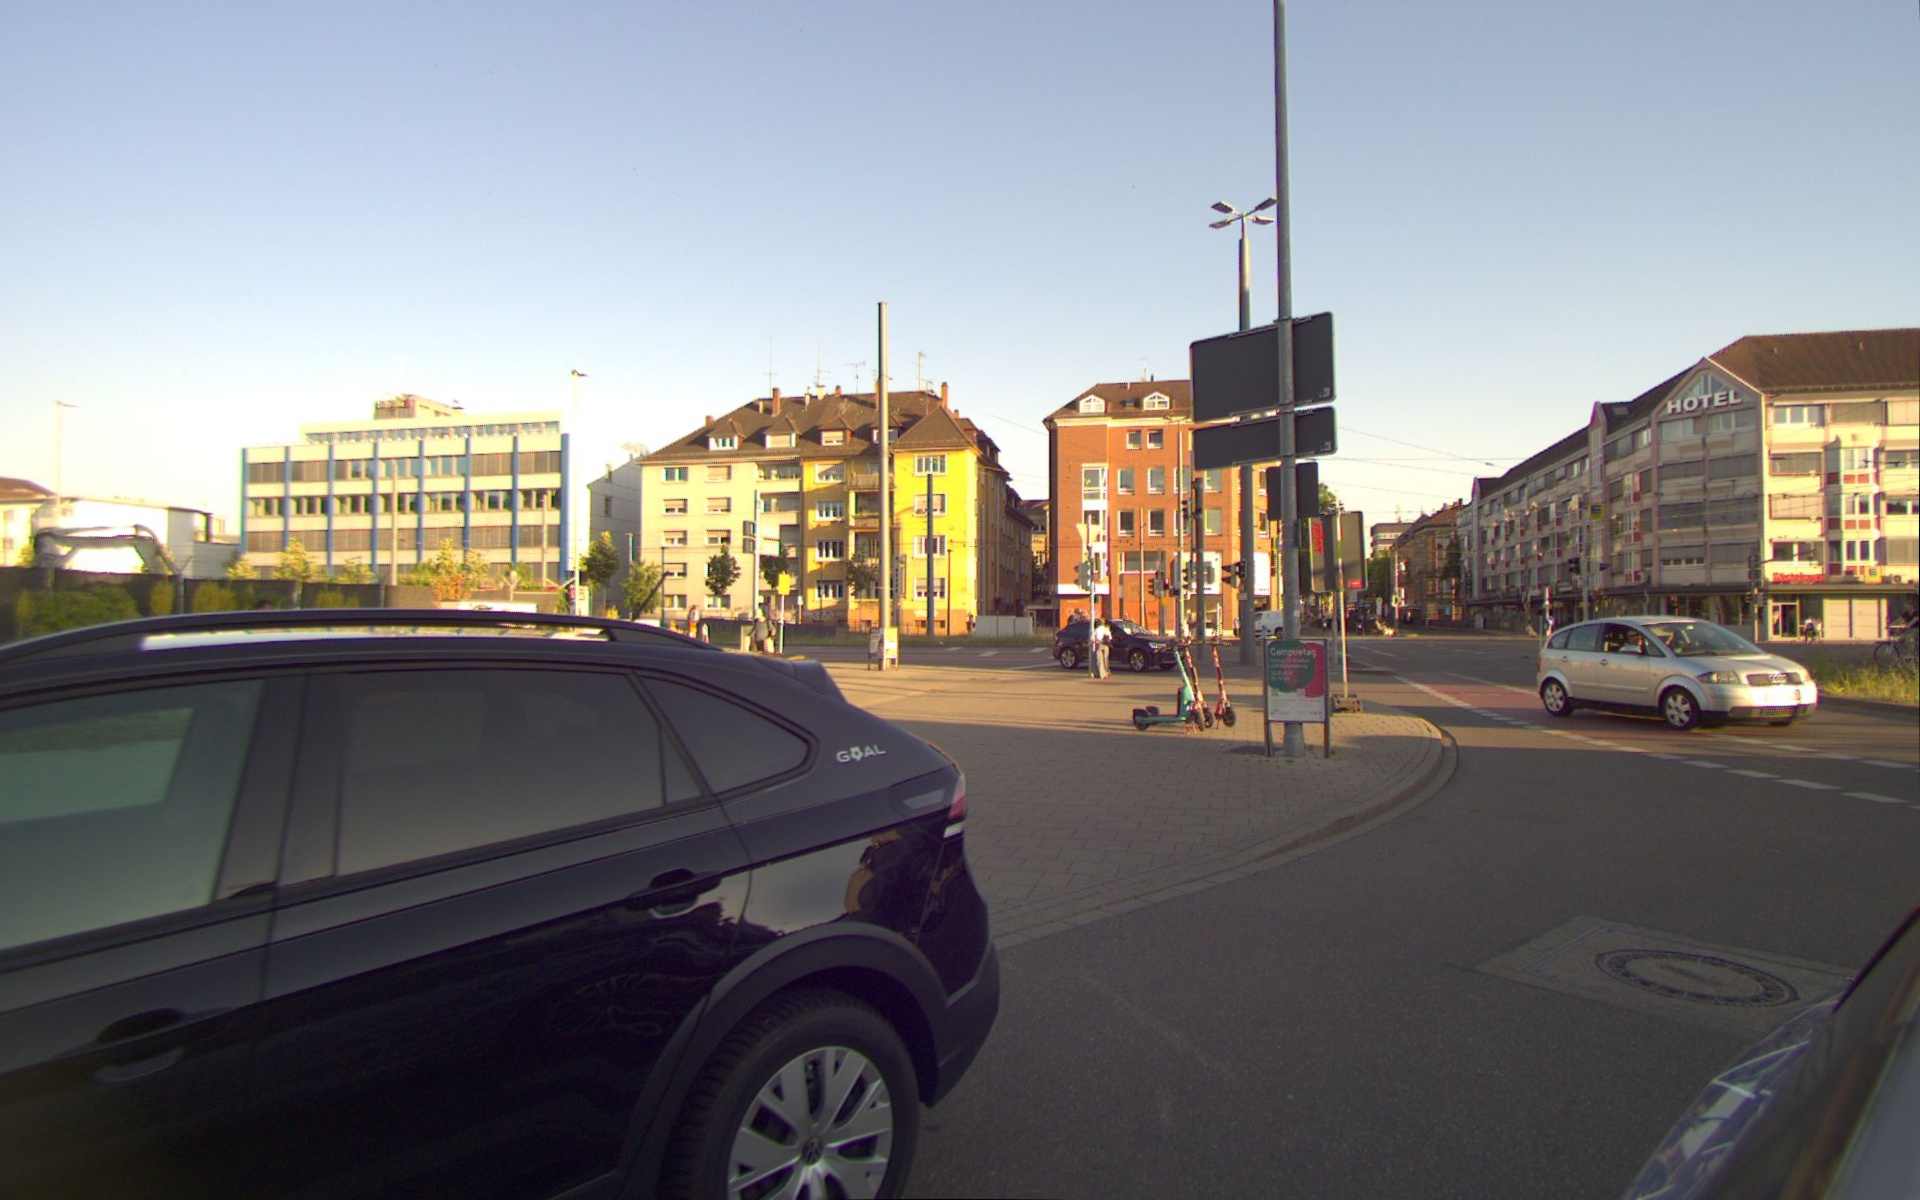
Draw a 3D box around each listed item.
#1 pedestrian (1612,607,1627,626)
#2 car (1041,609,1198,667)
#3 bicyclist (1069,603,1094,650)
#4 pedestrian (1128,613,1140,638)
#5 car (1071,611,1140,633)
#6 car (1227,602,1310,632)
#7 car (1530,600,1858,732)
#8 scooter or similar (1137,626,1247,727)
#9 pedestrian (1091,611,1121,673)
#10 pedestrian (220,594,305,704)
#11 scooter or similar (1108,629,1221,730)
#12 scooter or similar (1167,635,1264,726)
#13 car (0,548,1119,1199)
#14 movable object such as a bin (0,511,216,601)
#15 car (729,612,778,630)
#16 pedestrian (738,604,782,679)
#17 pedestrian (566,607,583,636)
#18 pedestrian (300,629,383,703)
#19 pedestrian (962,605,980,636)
[{"bbox_3d":[55.094,1.412,84.561,0.697,1.568,0.903,-1,-1,12],"label":"pedestrian"},{"bbox_3d":[4.772,1.080,30.627,4.372,1.638,1.915,0,-1,41],"label":"car"},{"bbox_3d":[4.404,0.964,36.767,0.739,1.692,0.592,-2,0,22],"label":"bicyclist"},{"bbox_3d":[12.849,1.864,74.702,0.858,1.801,0.915,-1,-1,8],"label":"pedestrian"},{"bbox_3d":[10.214,1.548,71.115,4.513,1.467,1.801,0,0,25],"label":"car"},{"bbox_3d":[19.892,1.127,65.381,1.965,1.862,4.869,1,-2,-39],"label":"car"},{"bbox_3d":[10.241,0.857,14.523,1.647,1.581,3.730,-2,-1,-6],"label":"car"},{"bbox_3d":[3.178,1.015,14.004,0.452,1.309,1.654,0,-1,-31],"label":"scooter or similar"},{"bbox_3d":[3.915,1.102,27.137,0.681,1.634,0.592,0,-1,21],"label":"pedestrian"},{"bbox_3d":[-11.008,0.757,15.979,0.812,1.686,0.759,0,-1,19],"label":"pedestrian"},{"bbox_3d":[2.728,1.035,13.673,0.600,1.276,1.527,0,-2,-31],"label":"scooter or similar"},{"bbox_3d":[3.585,1.099,14.290,0.452,1.181,1.405,1,-1,-32],"label":"scooter or similar"},{"bbox_3d":[-1.729,0.726,2.069,4.216,1.563,1.781,0,-1,-41],"label":"car"},{"bbox_3d":[-21.821,-1.015,25.265,1.993,2.039,4.946,-1,-1,43],"label":"movable object such as a bin"},{"bbox_3d":[-16.504,1.678,80.894,3.487,1.438,1.733,0,-1,11],"label":"car"},{"bbox_3d":[-4.844,0.986,24.493,0.805,1.758,0.945,1,-1,-29],"label":"pedestrian"},{"bbox_3d":[-21.734,1.190,57.003,0.681,1.611,0.563,0,-1,16],"label":"pedestrian"},{"bbox_3d":[-10.297,1.077,16.868,0.977,1.172,0.730,-1,-1,19],"label":"pedestrian"},{"bbox_3d":[0.562,1.045,51.522,0.631,1.561,0.700,-1,-1,30],"label":"pedestrian"}]
